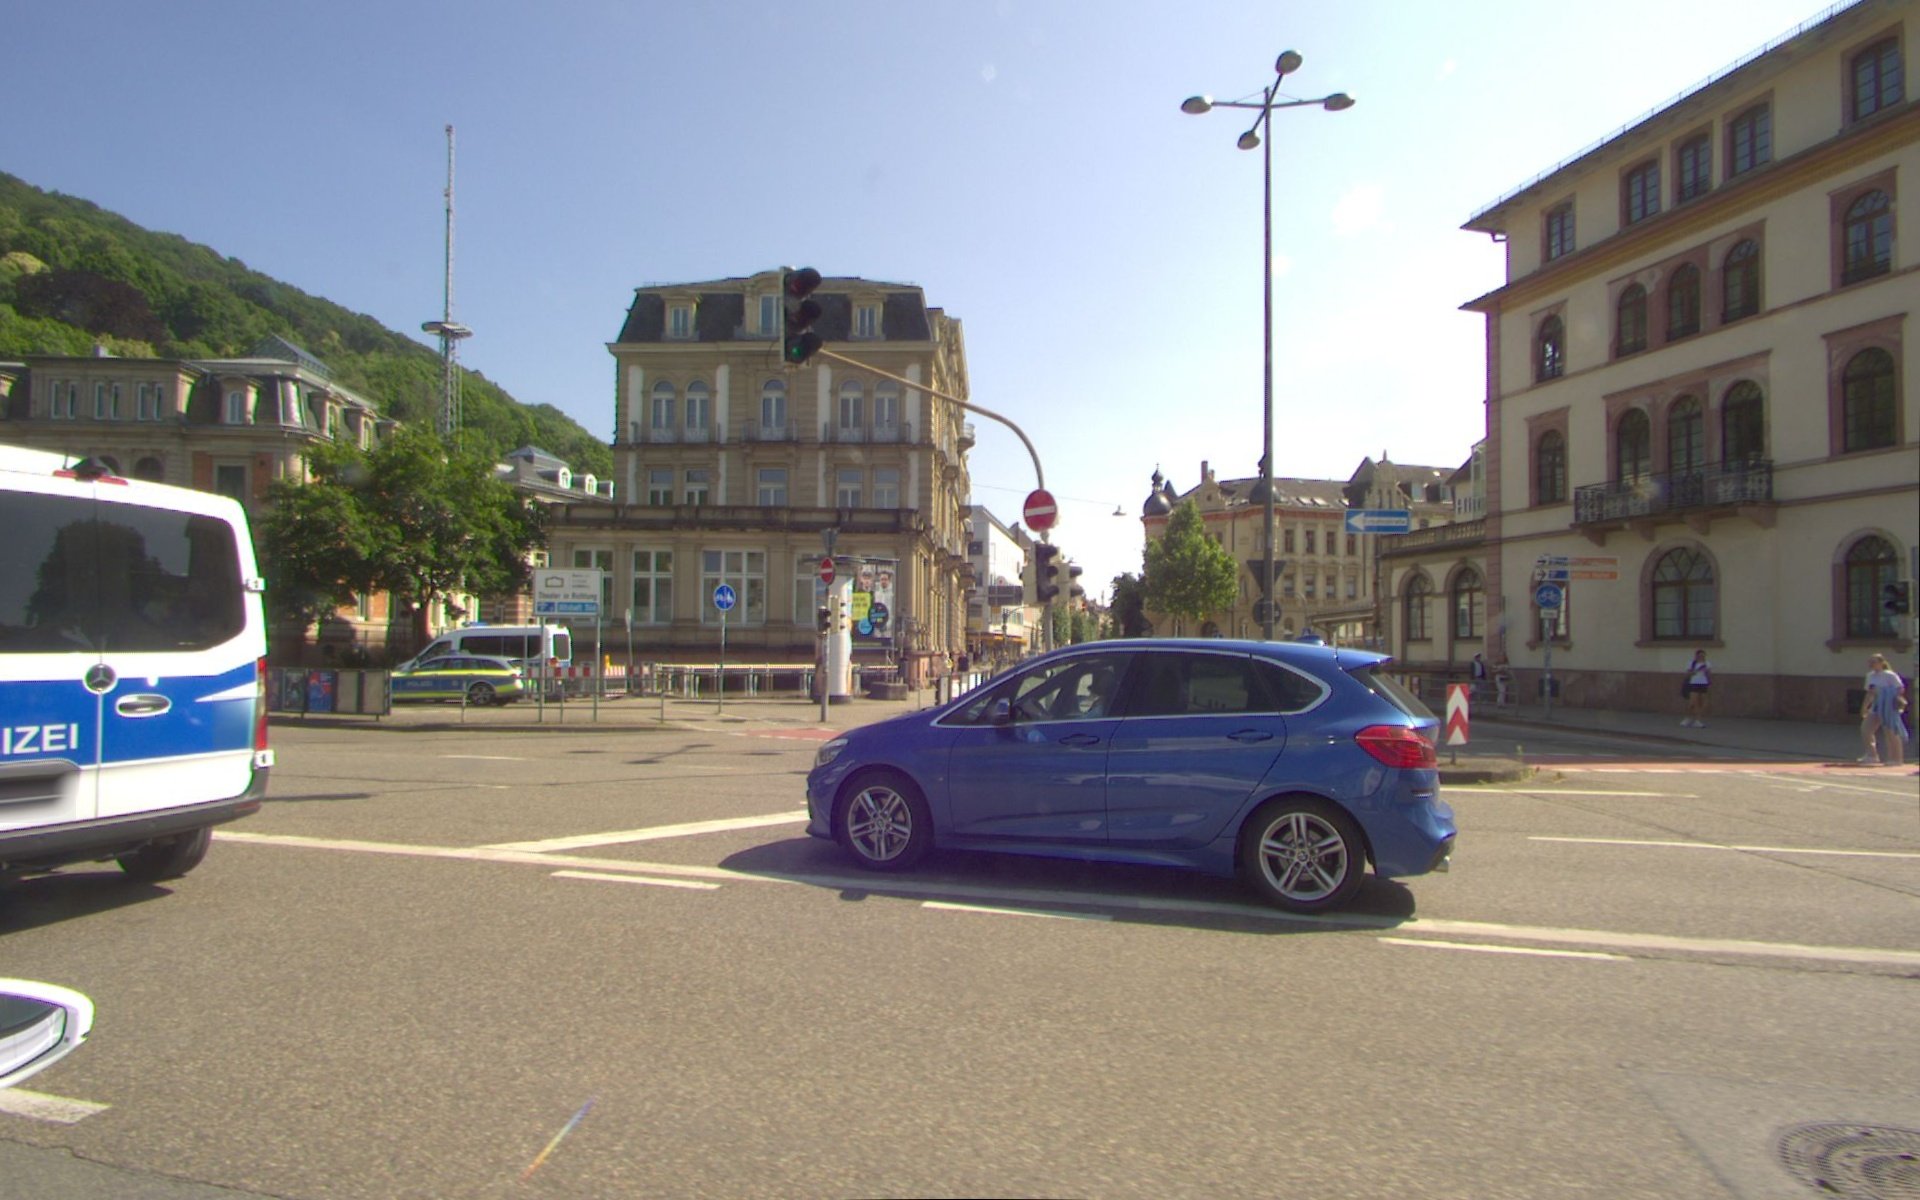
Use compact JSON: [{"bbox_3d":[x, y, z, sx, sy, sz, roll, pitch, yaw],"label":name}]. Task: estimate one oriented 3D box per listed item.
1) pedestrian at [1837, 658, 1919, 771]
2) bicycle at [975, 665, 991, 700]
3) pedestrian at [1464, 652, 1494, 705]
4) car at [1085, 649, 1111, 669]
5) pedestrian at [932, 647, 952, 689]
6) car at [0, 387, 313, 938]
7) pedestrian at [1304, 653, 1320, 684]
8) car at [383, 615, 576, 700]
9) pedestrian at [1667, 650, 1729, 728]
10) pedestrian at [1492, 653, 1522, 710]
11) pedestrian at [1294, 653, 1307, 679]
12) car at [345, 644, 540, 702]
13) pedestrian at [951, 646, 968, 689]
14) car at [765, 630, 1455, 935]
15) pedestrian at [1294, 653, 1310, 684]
[{"bbox_3d":[14.227,1.733,15.380,0.813,1.680,0.754,0,-2,4],"label":"pedestrian"},{"bbox_3d":[0.796,2.857,34.797,0.495,1.113,1.821,0,-2,3],"label":"bicycle"},{"bbox_3d":[16.605,2.495,32.046,0.662,1.669,0.535,1,-2,-11],"label":"pedestrian"},{"bbox_3d":[11.624,4.939,84.509,1.844,1.627,3.871,0,-3,4],"label":"car"},{"bbox_3d":[-0.748,2.848,42.091,0.805,1.762,0.751,0,-2,3],"label":"pedestrian"},{"bbox_3d":[-6.543,0.352,5.909,4.844,2.539,2.077,-1,-3,21],"label":"car"},{"bbox_3d":[18.650,3.623,53.007,0.705,1.624,0.724,0,-2,11],"label":"pedestrian"},{"bbox_3d":[-15.504,1.877,32.571,5.215,2.636,2.001,1,-2,-4],"label":"car"},{"bbox_3d":[16.583,1.992,22.517,0.731,1.716,0.843,1,-2,-16],"label":"pedestrian"},{"bbox_3d":[16.240,2.414,29.745,0.569,1.669,0.535,1,-2,-8],"label":"pedestrian"},{"bbox_3d":[21.400,4.151,62.996,0.706,1.624,0.724,0,-2,13],"label":"pedestrian"},{"bbox_3d":[-15.337,2.178,29.910,4.786,1.646,1.823,1,-3,-5],"label":"car"},{"bbox_3d":[-0.012,2.836,42.059,0.688,1.773,0.722,0,-2,3],"label":"pedestrian"},{"bbox_3d":[0.950,1.018,6.795,4.200,1.560,1.722,-1,-4,23],"label":"car"},{"bbox_3d":[18.139,3.621,53.114,0.705,1.624,0.724,0,-2,11],"label":"pedestrian"}]
